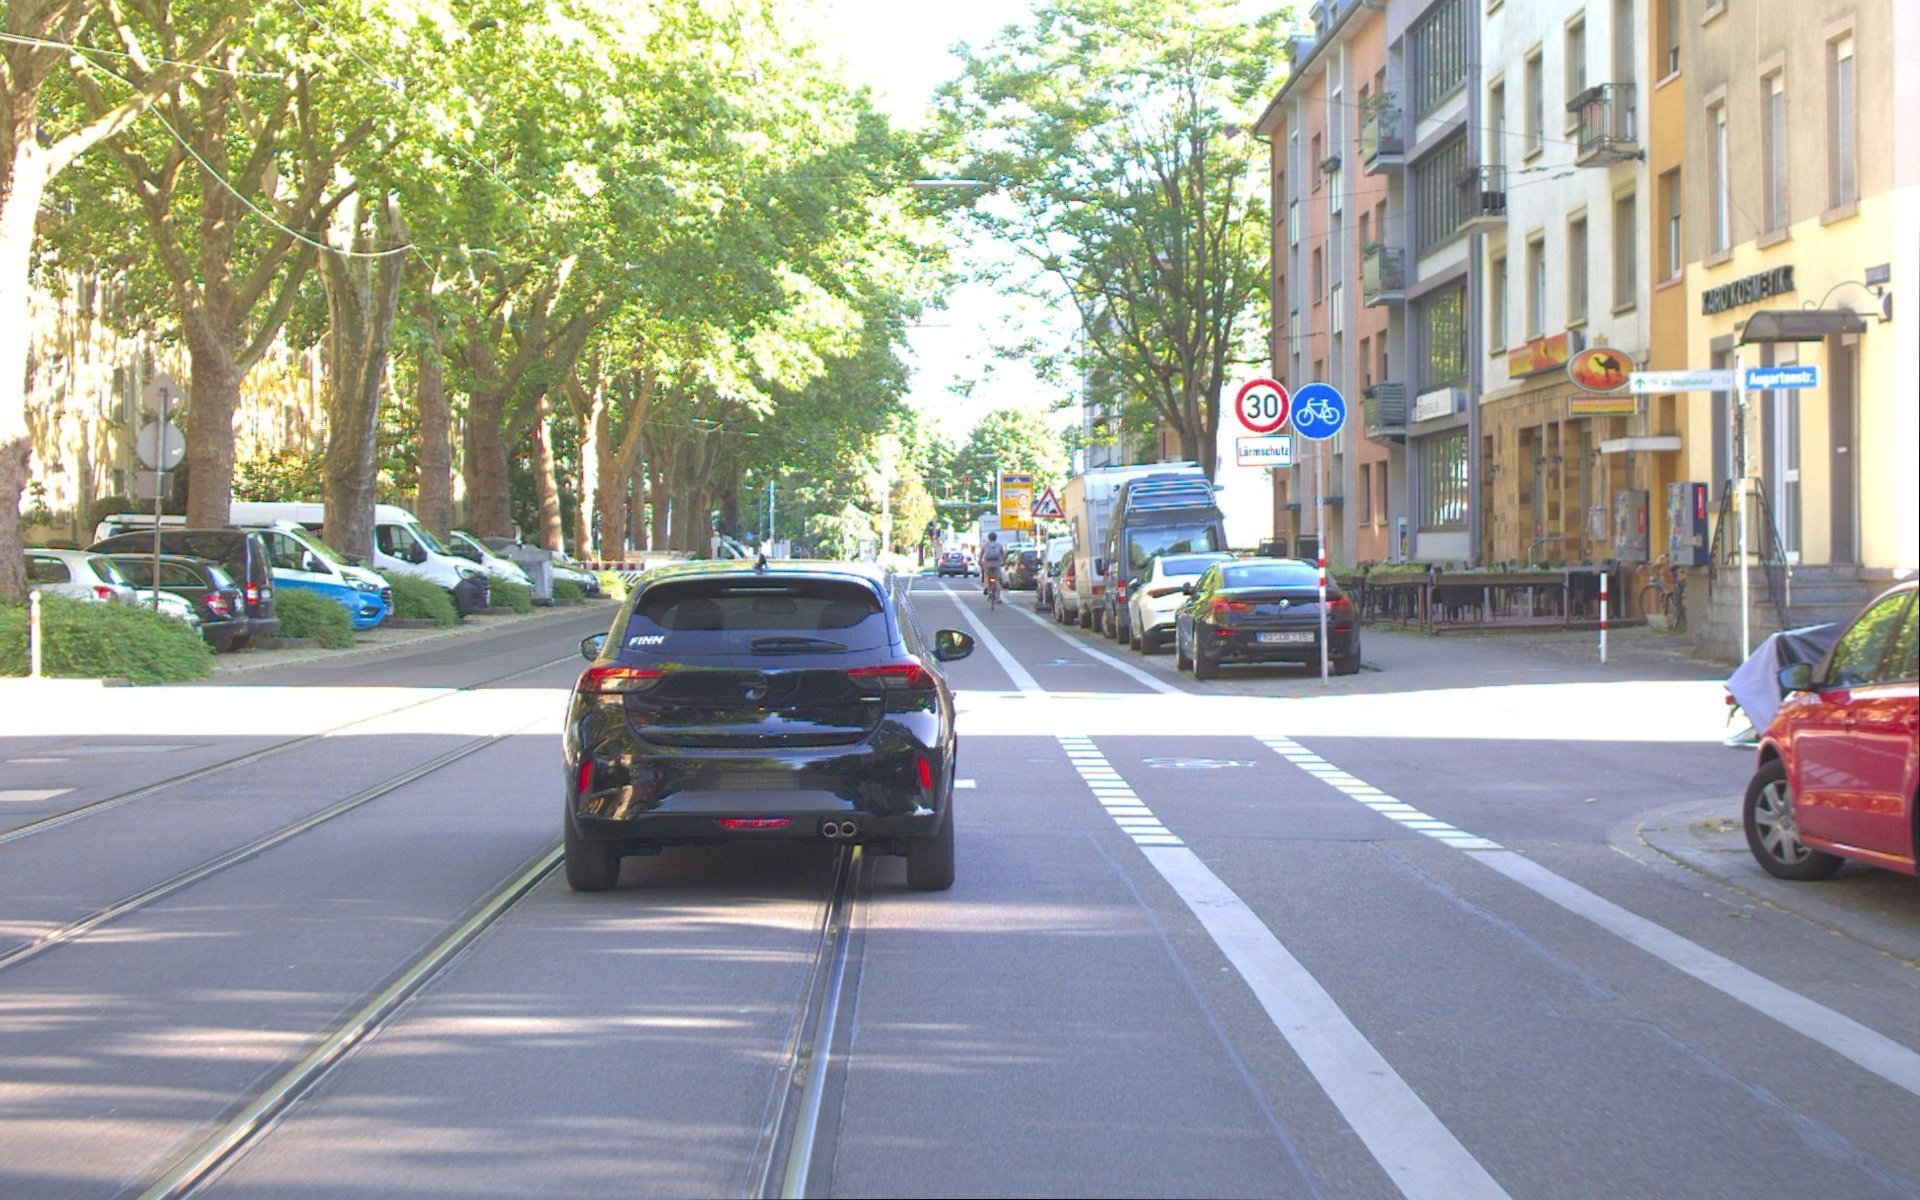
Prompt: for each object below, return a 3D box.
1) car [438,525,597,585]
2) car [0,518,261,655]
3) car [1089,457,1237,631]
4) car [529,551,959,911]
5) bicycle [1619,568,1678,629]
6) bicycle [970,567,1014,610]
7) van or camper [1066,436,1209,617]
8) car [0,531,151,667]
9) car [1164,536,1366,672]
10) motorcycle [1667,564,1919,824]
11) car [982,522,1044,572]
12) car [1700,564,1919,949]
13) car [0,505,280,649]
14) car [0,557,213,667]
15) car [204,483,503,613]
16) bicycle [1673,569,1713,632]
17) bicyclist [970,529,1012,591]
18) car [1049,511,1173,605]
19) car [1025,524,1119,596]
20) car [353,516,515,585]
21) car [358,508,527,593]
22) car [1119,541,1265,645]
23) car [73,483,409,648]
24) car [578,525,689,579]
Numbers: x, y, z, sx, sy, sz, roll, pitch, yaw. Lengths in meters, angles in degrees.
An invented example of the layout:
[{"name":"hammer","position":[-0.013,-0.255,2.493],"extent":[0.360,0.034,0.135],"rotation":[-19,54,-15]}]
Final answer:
[{"name":"car","position":[-12.425,-1.264,96.477],"extent":[4.353,1.659,2.001],"rotation":[0,1,-9]},{"name":"car","position":[-12.144,-0.173,48.423],"extent":[4.298,1.669,1.783],"rotation":[-4,1,-8]},{"name":"car","position":[3.380,-0.971,58.083],"extent":[2.085,2.762,4.698],"rotation":[-2,2,-1]},{"name":"car","position":[-0.905,0.512,16.154],"extent":[1.763,1.455,3.951],"rotation":[0,1,0]},{"name":"bicycle","position":[9.281,-0.029,46.404],"extent":[0.409,0.786,1.791],"rotation":[0,1,-1]},{"name":"bicycle","position":[0.765,-0.282,83.185],"extent":[0.968,0.995,2.583],"rotation":[0,1,-2]},{"name":"van or camper","position":[3.279,-1.371,64.642],"extent":[2.254,3.205,5.531],"rotation":[-2,1,-1]},{"name":"car","position":[-12.650,0.063,43.844],"extent":[4.298,1.588,1.783],"rotation":[-4,1,-8]},{"name":"car","position":[3.556,0.001,40.798],"extent":[1.884,1.429,4.530],"rotation":[-3,1,-1]},{"name":"motorcycle","position":[4.998,0.495,18.826],"extent":[2.092,1.354,0.923],"rotation":[-2,0,16]},{"name":"car","position":[2.060,-2.082,134.895],"extent":[2.254,1.834,5.531],"rotation":[-2,1,-1]},{"name":"car","position":[4.496,0.578,14.621],"extent":[1.702,1.418,3.979],"rotation":[-2,1,-1]},{"name":"car","position":[-12.339,-0.328,50.749],"extent":[4.298,1.834,1.783],"rotation":[-4,1,-8]},{"name":"car","position":[-12.379,0.208,46.395],"extent":[4.298,1.286,1.711],"rotation":[-4,1,-8]},{"name":"car","position":[-12.344,-1.069,70.152],"extent":[5.639,2.584,2.196],"rotation":[1,1,3]},{"name":"bicycle","position":[9.637,-0.004,45.224],"extent":[0.474,0.786,1.791],"rotation":[1,1,11]},{"name":"bicyclist","position":[0.755,-0.965,83.147],"extent":[0.958,1.494,1.094],"rotation":[0,1,-2]},{"name":"car","position":[3.107,-0.895,71.851],"extent":[2.254,1.834,5.531],"rotation":[-2,1,-1]},{"name":"car","position":[3.009,-1.095,93.198],"extent":[2.254,1.834,5.531],"rotation":[-2,1,-1]},{"name":"car","position":[-13.930,-1.308,91.063],"extent":[4.175,1.787,2.001],"rotation":[0,1,-9]},{"name":"car","position":[-12.546,-1.201,83.349],"extent":[3.986,2.007,2.001],"rotation":[0,1,-9]},{"name":"car","position":[3.386,-0.102,50.859],"extent":[1.803,1.429,4.000],"rotation":[-2,0,-1]},{"name":"car","position":[-11.963,-0.585,57.443],"extent":[5.036,2.366,2.081],"rotation":[-4,1,0]},{"name":"car","position":[-12.583,-1.856,132.657],"extent":[3.987,2.007,2.000],"rotation":[1,1,4]}]
